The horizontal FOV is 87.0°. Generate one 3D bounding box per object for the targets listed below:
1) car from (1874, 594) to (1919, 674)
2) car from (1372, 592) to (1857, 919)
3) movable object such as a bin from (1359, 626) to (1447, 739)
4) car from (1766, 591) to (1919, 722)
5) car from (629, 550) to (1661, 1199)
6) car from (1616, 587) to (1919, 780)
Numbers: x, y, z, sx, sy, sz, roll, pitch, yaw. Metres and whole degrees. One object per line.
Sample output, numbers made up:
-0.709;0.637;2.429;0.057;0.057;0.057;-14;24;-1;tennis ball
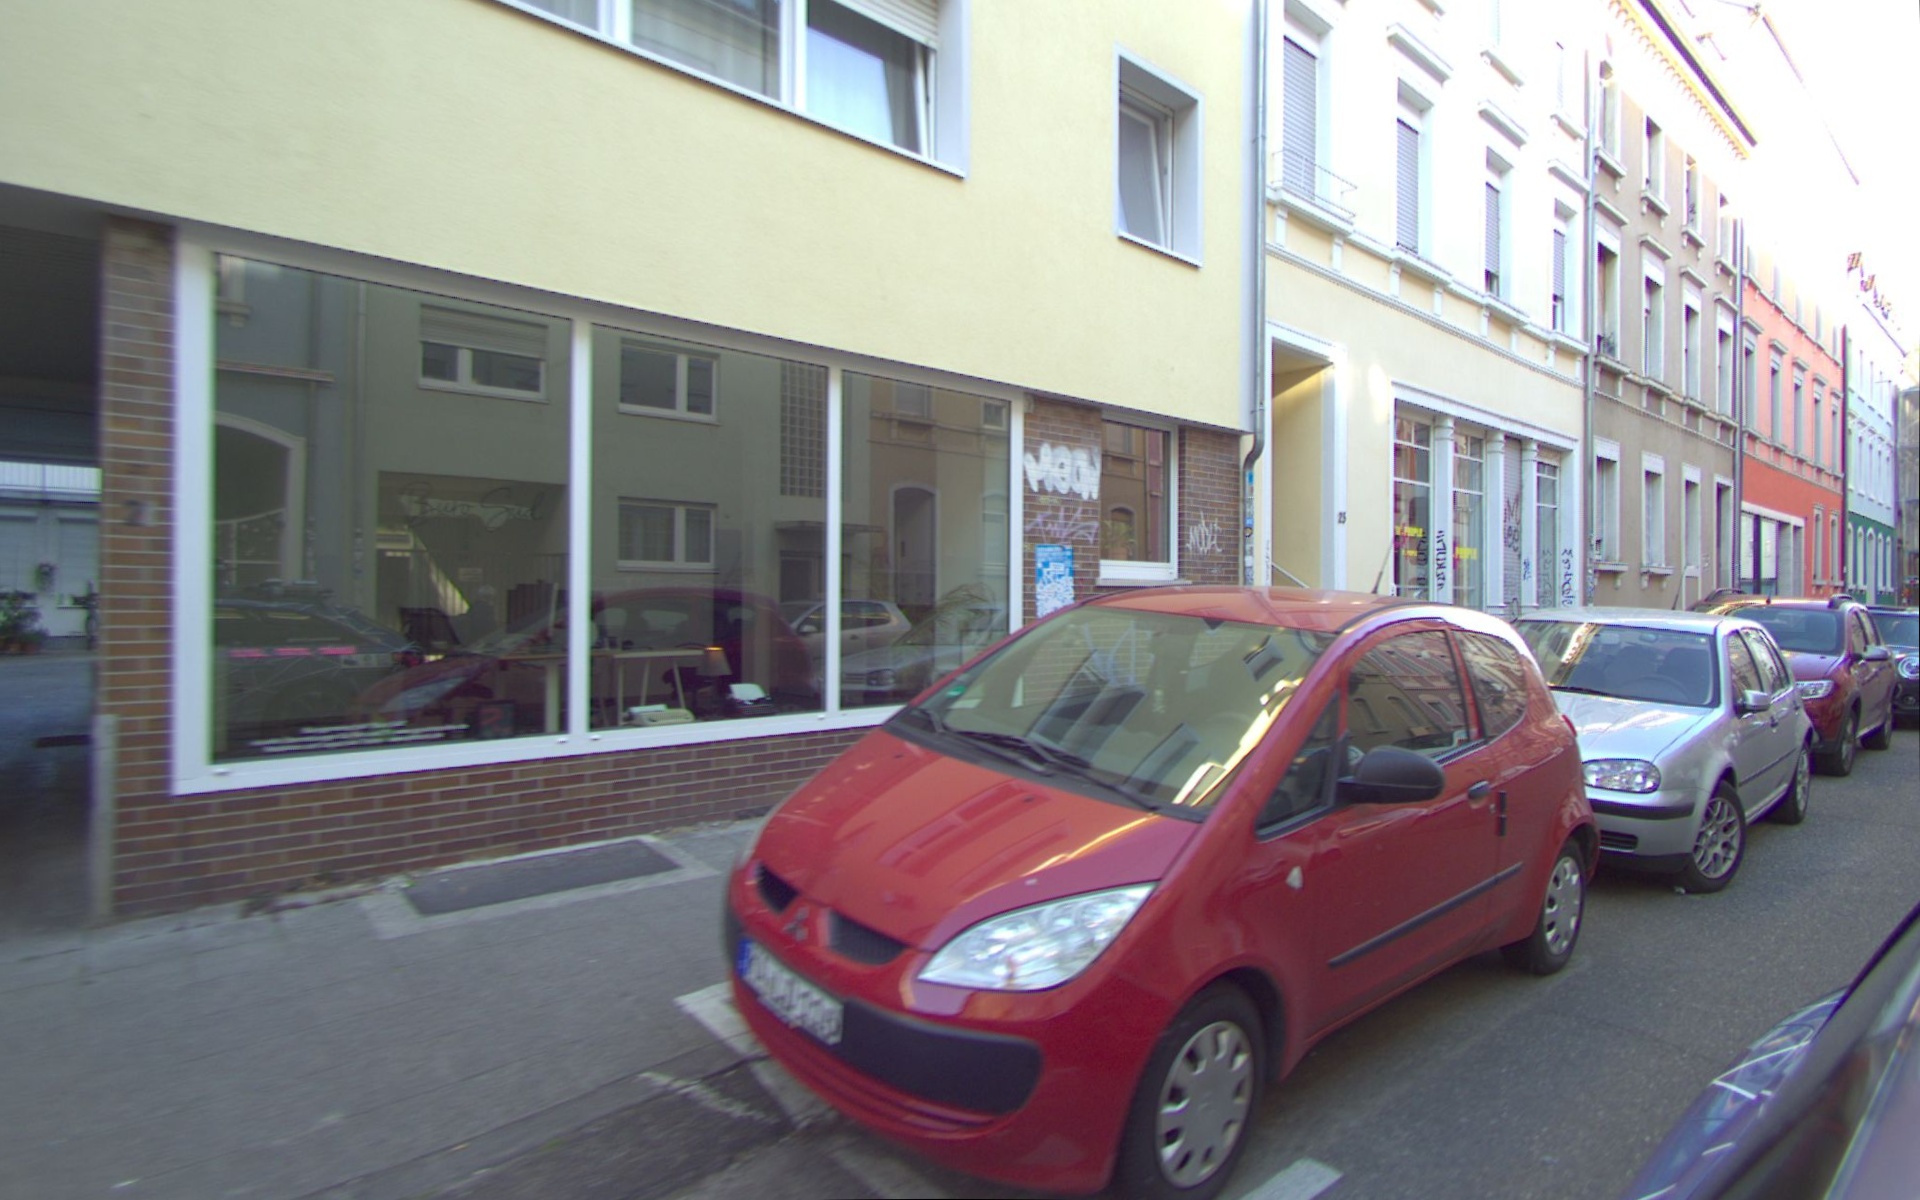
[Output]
20.114;0.652;20.535;4.387;1.501;1.830;0;1;-41;car
4.525;0.716;6.719;4.122;1.471;1.691;0;2;-42;car
4.645;0.840;10.612;0.547;1.113;0.665;0;-1;-39;movable object such as a bin
12.611;0.667;13.834;4.304;1.541;1.764;0;0;-41;car
0.997;0.649;3.804;3.909;1.542;1.701;0;2;-40;car
8.316;0.673;10.249;3.930;1.570;1.793;0;1;-41;car
